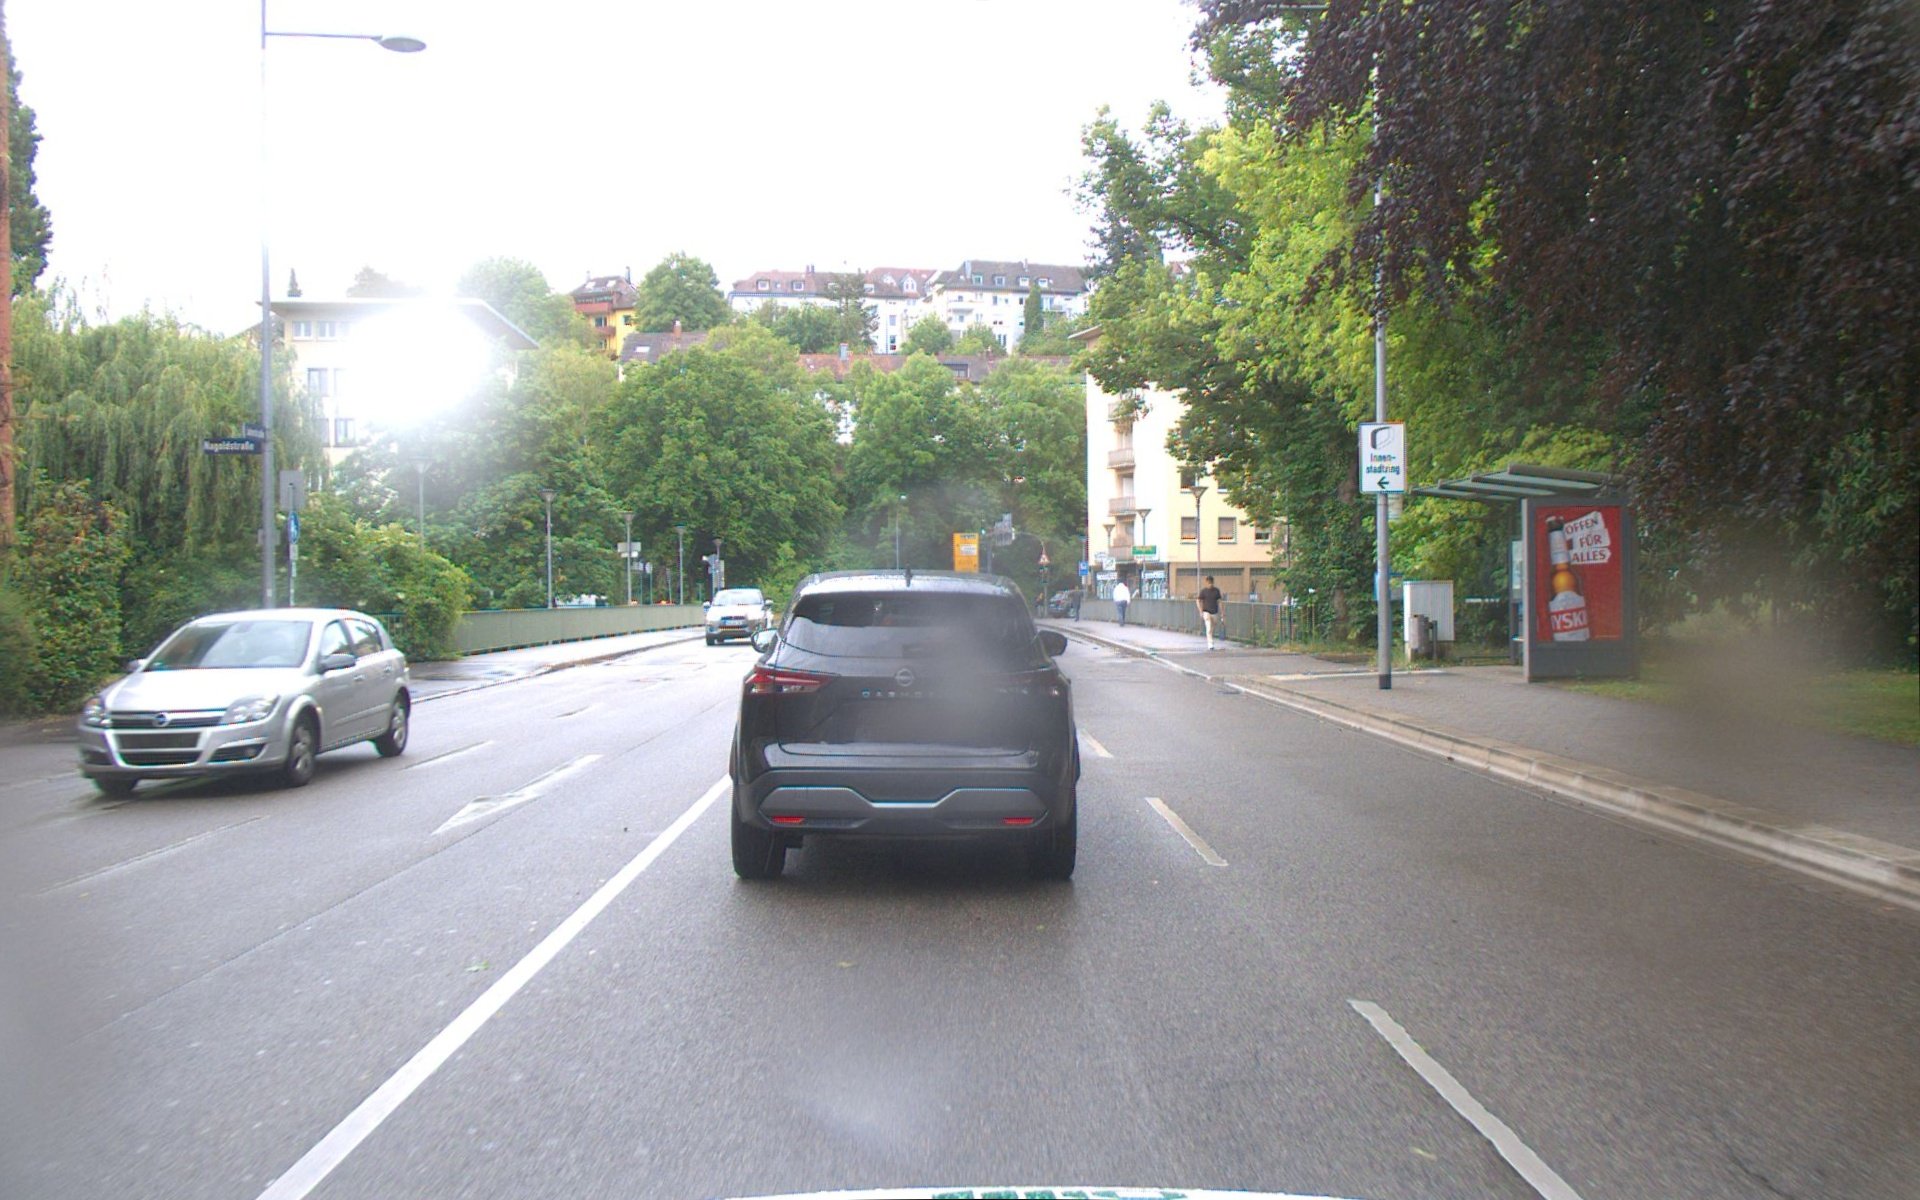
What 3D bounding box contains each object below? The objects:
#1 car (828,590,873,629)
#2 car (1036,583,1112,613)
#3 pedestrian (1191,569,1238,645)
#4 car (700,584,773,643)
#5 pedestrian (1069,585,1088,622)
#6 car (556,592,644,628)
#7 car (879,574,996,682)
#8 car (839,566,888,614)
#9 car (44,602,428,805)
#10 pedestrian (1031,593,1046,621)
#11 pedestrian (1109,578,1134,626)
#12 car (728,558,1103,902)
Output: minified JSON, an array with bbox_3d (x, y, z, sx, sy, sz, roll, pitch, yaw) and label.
[{"bbox_3d":[-4.520,0.368,68.510,1.746,1.499,4.164,-2,1,-3],"label":"car"},{"bbox_3d":[6.991,-0.120,101.632,4.315,1.678,1.867,-2,0,-27],"label":"car"},{"bbox_3d":[5.984,0.165,38.922,0.830,1.705,1.167,-3,0,-1],"label":"pedestrian"},{"bbox_3d":[-6.580,0.364,49.092,1.777,1.606,4.229,-2,1,-3],"label":"car"},{"bbox_3d":[5.591,0.157,78.074,0.745,1.706,0.781,-3,0,-1],"label":"pedestrian"},{"bbox_3d":[-20.131,0.549,92.670,4.655,1.886,1.996,-1,2,-10],"label":"car"},{"bbox_3d":[-0.381,0.418,27.255,1.774,1.631,3.999,1,0,-1],"label":"car"},{"bbox_3d":[-5.034,-0.566,87.260,2.243,2.349,6.508,-2,1,-1],"label":"car"},{"bbox_3d":[-6.253,0.801,14.835,1.777,1.440,4.046,-2,1,-3],"label":"car"},{"bbox_3d":[4.804,0.420,101.326,0.845,1.647,0.839,-2,0,-1],"label":"pedestrian"},{"bbox_3d":[6.084,0.059,62.344,0.764,1.783,1.060,-1,0,-1],"label":"pedestrian"},{"bbox_3d":[-0.244,0.603,9.861,1.774,1.631,3.999,0,0,-1],"label":"car"}]
